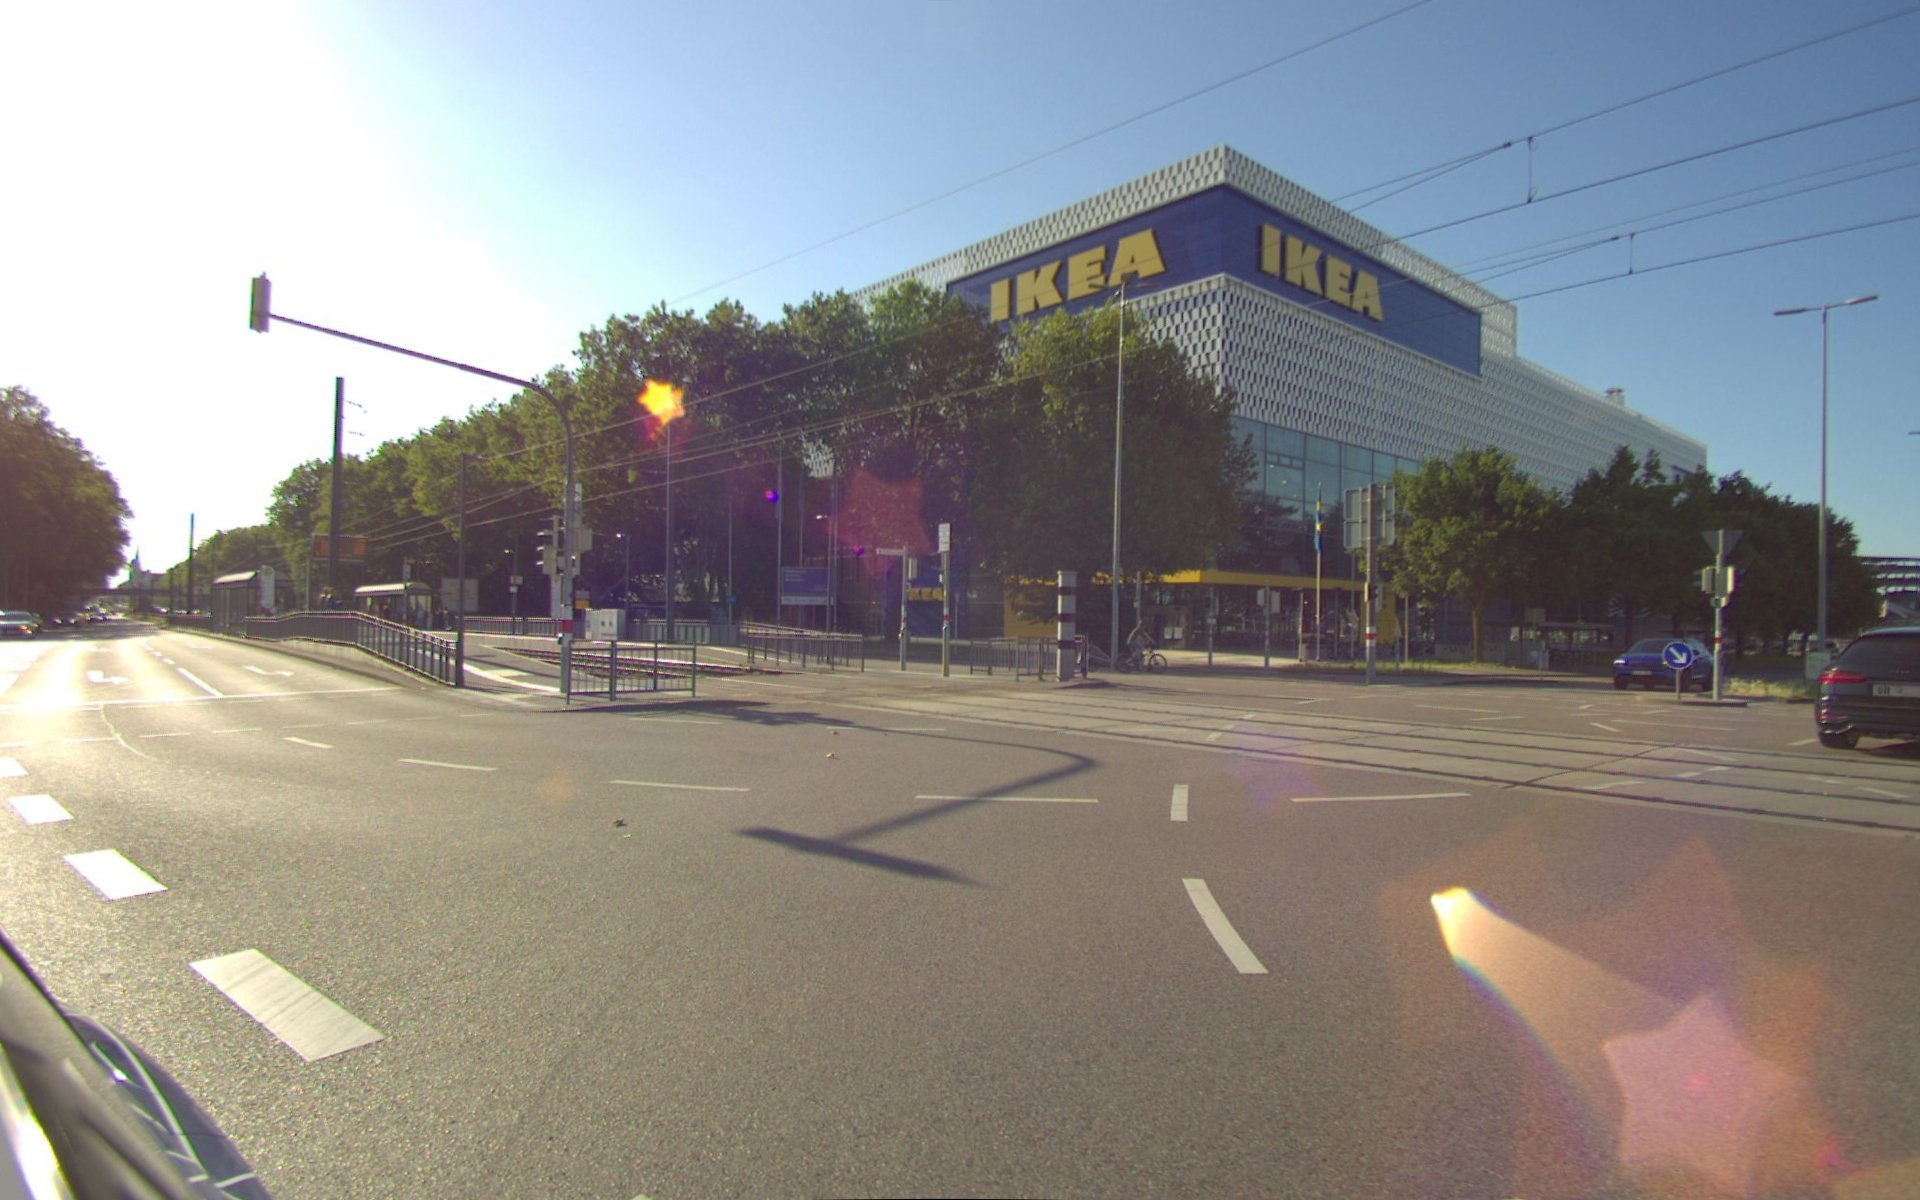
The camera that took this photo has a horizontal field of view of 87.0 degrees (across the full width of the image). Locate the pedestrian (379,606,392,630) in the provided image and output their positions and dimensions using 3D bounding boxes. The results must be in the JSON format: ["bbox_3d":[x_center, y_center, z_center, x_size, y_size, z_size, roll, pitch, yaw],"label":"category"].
[{"bbox_3d":[-40.276,1.239,71.003,0.652,1.645,0.778,-1,0,-40],"label":"pedestrian"}]

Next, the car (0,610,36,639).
[{"bbox_3d":[-49.150,1.258,52.287,1.843,1.441,3.837,-2,0,-39],"label":"car"}]

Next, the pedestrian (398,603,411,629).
[{"bbox_3d":[-38.624,1.129,70.342,0.644,1.755,0.687,-1,0,-38],"label":"pedestrian"}]

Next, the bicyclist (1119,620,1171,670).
[{"bbox_3d":[6.292,1.538,34.447,1.461,1.629,0.825,2,-1,-13],"label":"bicyclist"}]

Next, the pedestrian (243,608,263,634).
[{"bbox_3d":[-33.947,1.012,48.593,0.672,1.241,0.880,-1,0,-41],"label":"pedestrian"}]

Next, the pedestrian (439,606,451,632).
[{"bbox_3d":[-33.580,1.244,65.962,0.594,1.632,0.692,-1,0,-37],"label":"pedestrian"}]

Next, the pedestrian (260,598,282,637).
[{"bbox_3d":[-31.060,0.798,45.608,0.822,1.729,0.685,-1,-1,45],"label":"pedestrian"}]

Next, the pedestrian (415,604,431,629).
[{"bbox_3d":[-36.783,1.124,69.286,0.686,1.704,0.724,-2,0,39],"label":"pedestrian"}]

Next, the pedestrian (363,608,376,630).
[{"bbox_3d":[-45.926,1.488,78.716,0.752,1.723,0.679,-1,1,-40],"label":"pedestrian"}]

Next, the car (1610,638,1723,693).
[{"bbox_3d":[21.523,2.009,30.780,4.194,1.509,2.018,5,-3,-43],"label":"car"}]

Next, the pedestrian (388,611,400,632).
[{"bbox_3d":[-41.805,1.586,74.741,0.544,1.479,0.607,-1,-2,41],"label":"pedestrian"}]

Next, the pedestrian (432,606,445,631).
[{"bbox_3d":[-34.451,1.250,66.848,0.643,1.632,0.636,-1,0,-37],"label":"pedestrian"}]

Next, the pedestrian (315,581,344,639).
[{"bbox_3d":[-19.980,0.316,32.071,0.697,1.788,0.536,-2,1,-37],"label":"pedestrian"}]

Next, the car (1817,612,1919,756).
[{"bbox_3d":[11.573,0.907,11.306,4.022,1.469,1.927,2,-2,-32],"label":"car"}]

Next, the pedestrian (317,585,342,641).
[{"bbox_3d":[-19.608,0.383,31.456,0.527,1.706,0.762,-2,1,-39],"label":"pedestrian"}]

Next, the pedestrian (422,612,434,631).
[{"bbox_3d":[-35.620,1.459,67.772,0.594,1.233,0.618,-1,0,-37],"label":"pedestrian"}]

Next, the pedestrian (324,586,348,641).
[{"bbox_3d":[-18.966,0.405,30.763,0.527,1.669,0.752,-1,0,-39],"label":"pedestrian"}]

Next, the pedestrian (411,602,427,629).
[{"bbox_3d":[-37.318,1.071,69.765,0.686,1.834,0.724,-2,0,39],"label":"pedestrian"}]

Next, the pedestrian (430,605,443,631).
[{"bbox_3d":[-34.768,1.208,67.250,0.643,1.732,0.636,-1,0,-37],"label":"pedestrian"}]

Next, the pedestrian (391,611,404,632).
[{"bbox_3d":[-41.359,1.559,74.371,0.576,1.503,0.663,-1,-2,36],"label":"pedestrian"}]

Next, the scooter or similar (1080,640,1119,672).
[{"bbox_3d":[4.679,1.890,34.049,1.049,1.023,0.791,2,-1,-14],"label":"scooter or similar"}]

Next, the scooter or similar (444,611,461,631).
[{"bbox_3d":[-32.308,1.343,64.441,0.656,1.244,1.374,1,-2,-41],"label":"scooter or similar"}]

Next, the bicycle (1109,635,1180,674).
[{"bbox_3d":[6.270,1.846,34.431,2.241,1.227,0.716,2,-1,-13],"label":"bicycle"}]

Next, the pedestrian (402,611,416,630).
[{"bbox_3d":[-38.948,1.442,71.544,0.645,1.262,0.686,-1,0,-44],"label":"pedestrian"}]
